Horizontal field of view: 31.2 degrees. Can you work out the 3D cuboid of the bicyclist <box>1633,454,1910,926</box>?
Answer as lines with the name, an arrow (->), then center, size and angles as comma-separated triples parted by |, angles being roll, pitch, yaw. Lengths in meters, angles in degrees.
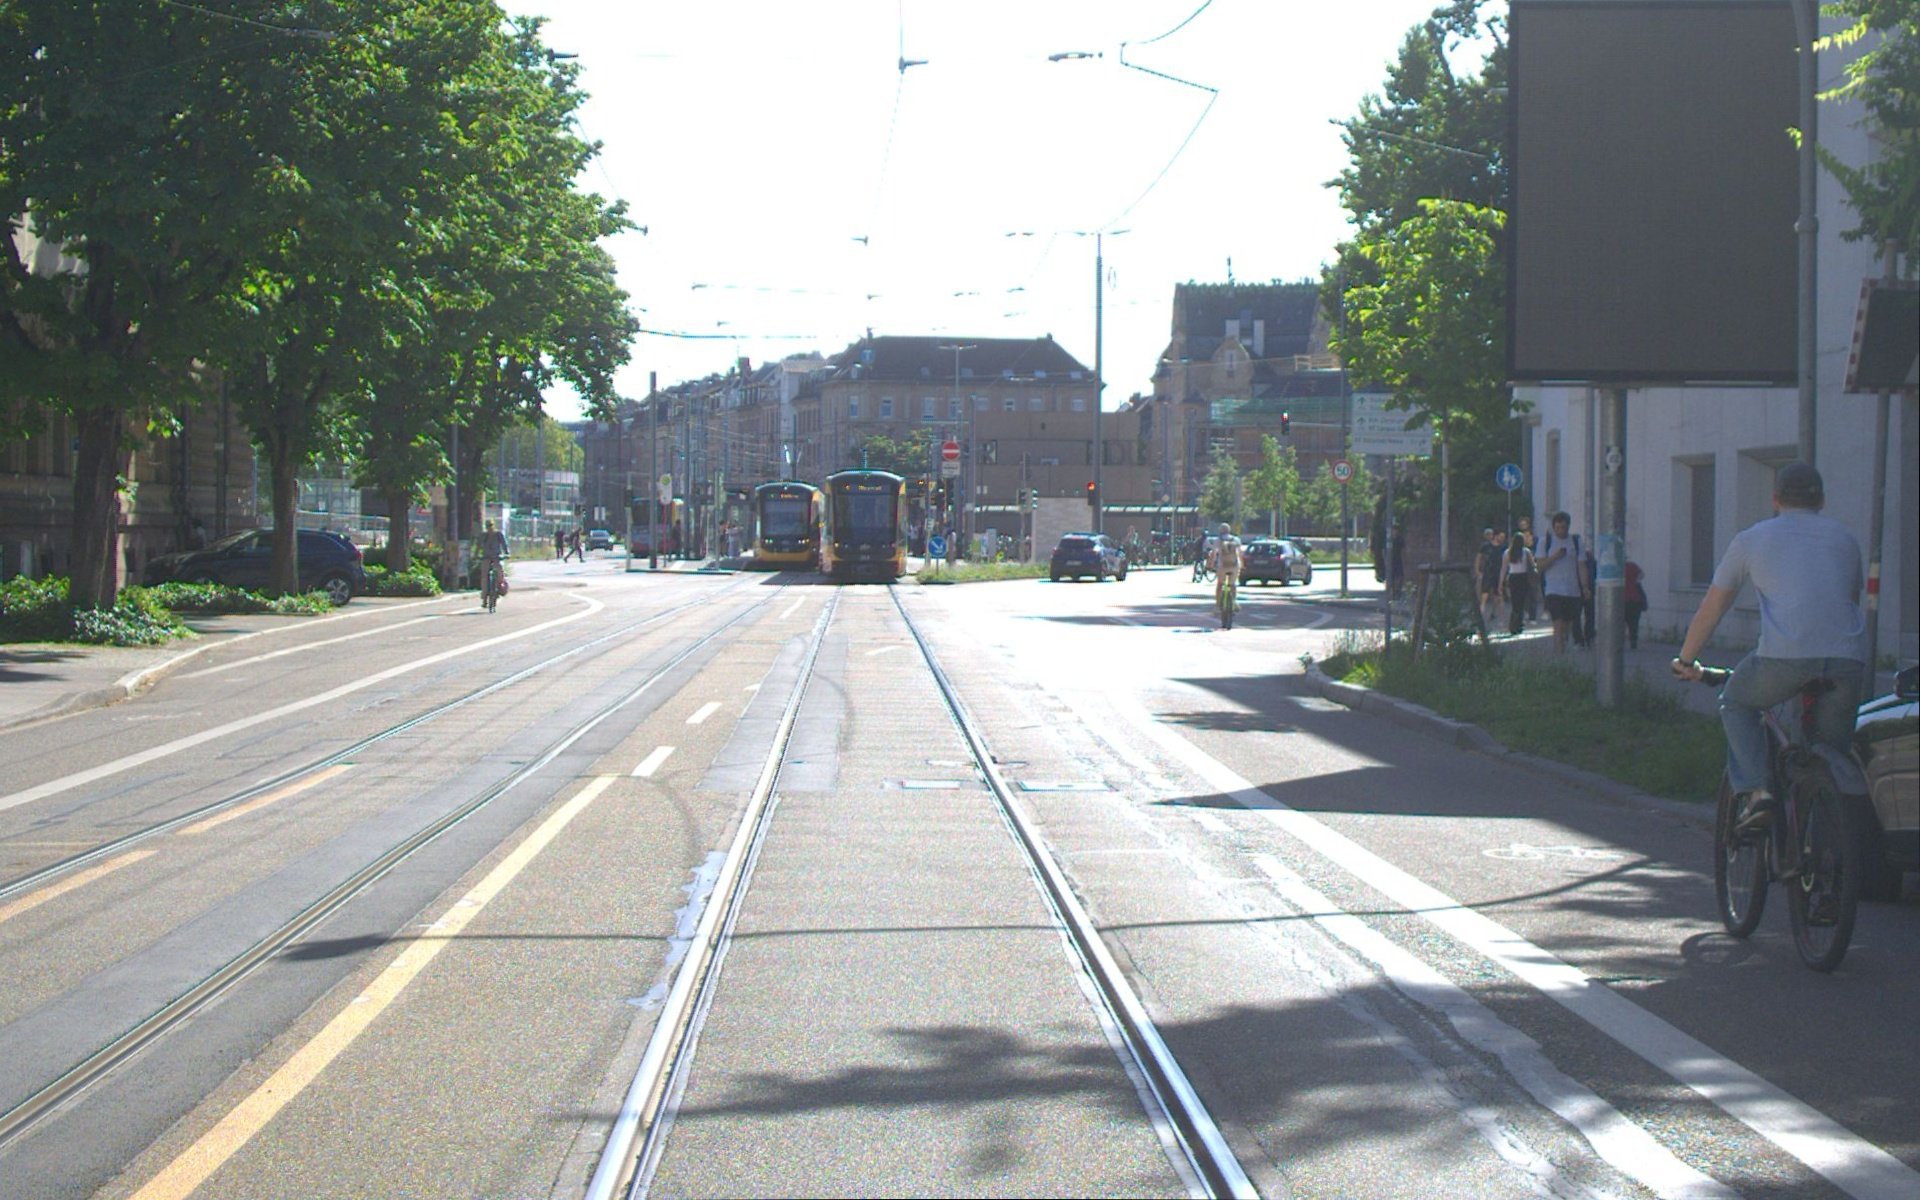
bicyclist -> 3.031, 0.318, 12.922 | 0.738, 1.680, 0.972 | 2, 1, 0

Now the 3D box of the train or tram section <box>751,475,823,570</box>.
train or tram section -> -6.991, -3.192, 140.340 | 2.742, 3.639, 13.788 | 1, 1, -2

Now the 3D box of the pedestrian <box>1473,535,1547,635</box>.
pedestrian -> 9.110, -0.241, 56.885 | 0.859, 1.635, 0.991 | 0, -1, 34

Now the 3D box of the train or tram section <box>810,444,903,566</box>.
train or tram section -> -3.407, -3.046, 111.019 | 2.742, 3.639, 13.788 | 1, 1, -2

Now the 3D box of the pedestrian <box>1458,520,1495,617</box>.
pedestrian -> 9.436, -0.580, 62.770 | 0.495, 1.722, 0.816 | -3, 1, 14

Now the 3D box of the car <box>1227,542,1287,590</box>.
car -> 9.963, -1.164, 115.138 | 1.789, 1.506, 3.712 | 2, 1, 7

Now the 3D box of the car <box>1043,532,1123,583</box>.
car -> 4.089, -1.415, 113.822 | 1.790, 1.599, 3.710 | 3, 1, 15

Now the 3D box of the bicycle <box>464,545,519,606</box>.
bicycle -> -8.858, -0.478, 65.055 | 0.686, 1.120, 1.931 | -1, 1, 3

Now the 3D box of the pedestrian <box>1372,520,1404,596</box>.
pedestrian -> 10.872, -1.077, 87.411 | 0.637, 1.897, 1.134 | -1, 1, 0

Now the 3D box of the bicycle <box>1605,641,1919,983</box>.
bicycle -> 3.013, 0.746, 12.940 | 0.738, 1.090, 2.111 | 2, 1, 0

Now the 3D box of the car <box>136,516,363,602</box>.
car -> -14.081, -0.811, 68.182 | 3.986, 1.544, 1.878 | 2, 1, -29

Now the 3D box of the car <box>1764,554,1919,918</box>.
car -> 4.830, 0.561, 13.524 | 1.821, 1.453, 4.819 | -1, 1, -5

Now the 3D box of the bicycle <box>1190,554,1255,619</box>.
bicycle -> 4.653, -0.254, 60.832 | 0.705, 1.101, 1.715 | 3, 2, 18

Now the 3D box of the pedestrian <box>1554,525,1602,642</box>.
pedestrian -> 8.526, -0.236, 47.424 | 0.518, 1.595, 0.764 | 1, 1, 1

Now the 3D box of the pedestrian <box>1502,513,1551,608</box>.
pedestrian -> 10.843, -0.755, 65.759 | 0.529, 1.768, 0.734 | -3, 1, 39

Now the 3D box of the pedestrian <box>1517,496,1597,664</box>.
pedestrian -> 6.640, -0.232, 38.283 | 0.683, 1.843, 0.955 | 0, 1, -3

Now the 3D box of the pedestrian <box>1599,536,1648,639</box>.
pedestrian -> 9.129, -0.178, 47.294 | 0.518, 1.399, 0.764 | 1, 1, 1

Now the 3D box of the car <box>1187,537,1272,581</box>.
car -> 10.724, -1.610, 136.546 | 1.705, 1.638, 3.705 | 3, 2, 34

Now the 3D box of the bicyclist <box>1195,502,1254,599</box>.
bicyclist -> 4.681, -0.873, 60.816 | 0.705, 1.669, 1.100 | 3, 2, 18

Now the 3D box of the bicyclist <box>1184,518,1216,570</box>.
bicyclist -> 8.138, -1.904, 116.720 | 0.706, 1.694, 0.986 | 4, 2, 23

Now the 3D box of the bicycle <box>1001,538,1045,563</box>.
bicycle -> 2.883, -2.262, 156.459 | 1.933, 1.099, 0.599 | 1, 1, -4

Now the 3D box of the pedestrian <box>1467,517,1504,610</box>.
pedestrian -> 10.087, -0.702, 66.033 | 0.606, 1.741, 0.717 | -2, 1, 7

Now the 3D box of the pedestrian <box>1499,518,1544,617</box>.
pedestrian -> 10.234, -0.592, 62.586 | 0.648, 1.757, 0.955 | -3, 1, 13

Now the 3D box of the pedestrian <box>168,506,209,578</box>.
pedestrian -> -17.769, -1.337, 79.150 | 0.700, 1.629, 0.759 | 3, 1, -2

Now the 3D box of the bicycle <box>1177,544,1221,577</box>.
bicycle -> 8.116, -1.340, 116.755 | 0.706, 1.051, 2.311 | 4, 2, 23

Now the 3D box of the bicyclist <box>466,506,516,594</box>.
bicyclist -> -8.866, -0.946, 65.029 | 0.686, 1.639, 1.237 | -1, 1, 3

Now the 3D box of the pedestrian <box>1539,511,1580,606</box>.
pedestrian -> 11.373, -0.795, 65.191 | 0.610, 1.768, 0.652 | -3, 1, 15
